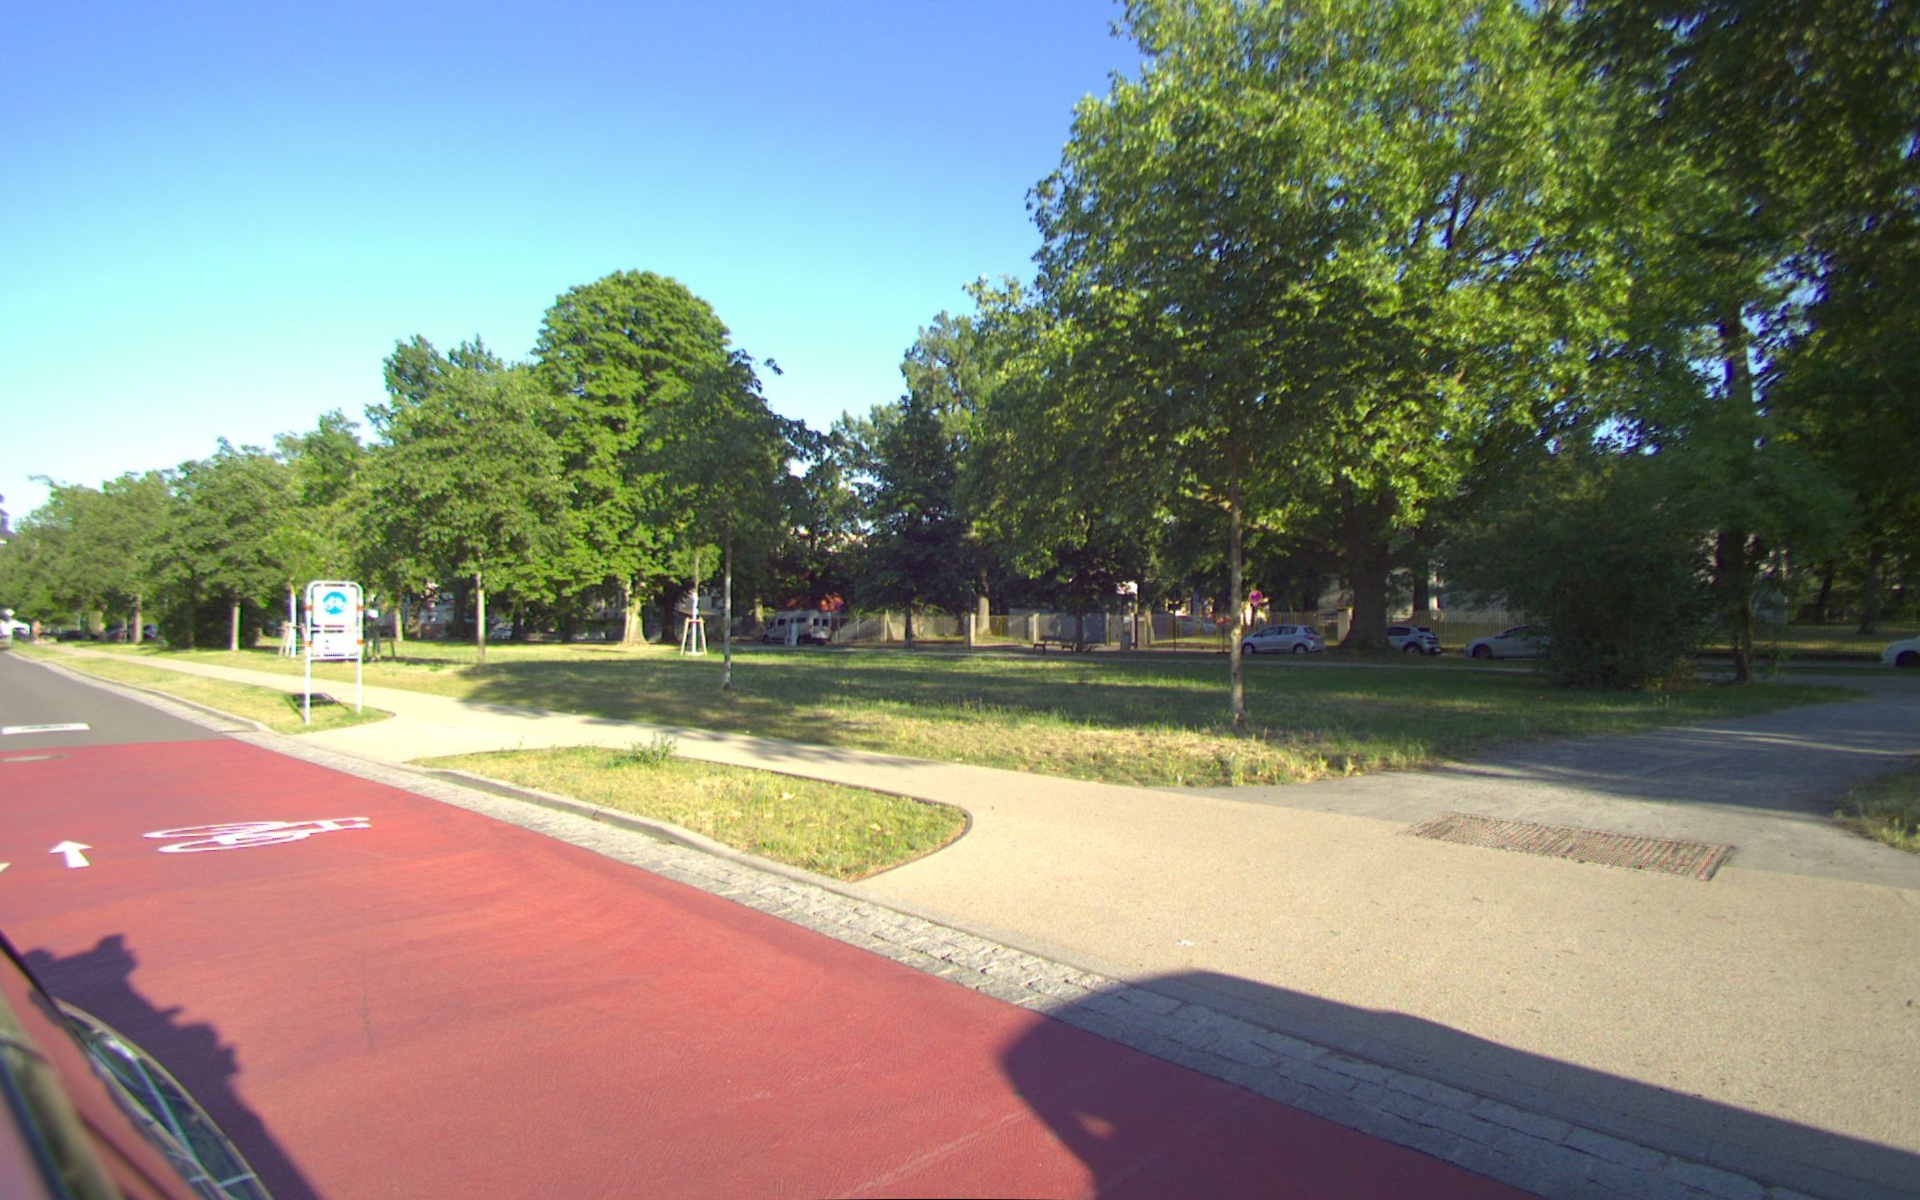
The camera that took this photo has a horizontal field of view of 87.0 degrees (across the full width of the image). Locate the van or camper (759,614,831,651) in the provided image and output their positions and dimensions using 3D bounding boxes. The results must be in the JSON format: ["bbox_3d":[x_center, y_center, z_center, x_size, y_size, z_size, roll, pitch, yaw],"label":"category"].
[{"bbox_3d":[-11.697,2.304,71.489,5.467,2.457,1.972,-2,1,43],"label":"van or camper"}]

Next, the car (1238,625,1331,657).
[{"bbox_3d":[14.551,1.834,45.480,3.650,1.378,1.505,-2,-2,44],"label":"car"}]

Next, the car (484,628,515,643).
[{"bbox_3d":[-49.641,3.829,109.090,4.001,1.475,1.772,-2,-2,44],"label":"car"}]

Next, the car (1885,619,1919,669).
[{"bbox_3d":[29.954,1.291,29.972,1.581,1.475,3.666,0,-2,-43],"label":"car"}]

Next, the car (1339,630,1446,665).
[{"bbox_3d":[17.918,1.967,42.060,3.794,1.378,1.505,-2,-2,44],"label":"car"}]

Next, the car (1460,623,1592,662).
[{"bbox_3d":[21.411,1.598,38.372,4.109,1.378,1.505,-2,-2,44],"label":"car"}]
